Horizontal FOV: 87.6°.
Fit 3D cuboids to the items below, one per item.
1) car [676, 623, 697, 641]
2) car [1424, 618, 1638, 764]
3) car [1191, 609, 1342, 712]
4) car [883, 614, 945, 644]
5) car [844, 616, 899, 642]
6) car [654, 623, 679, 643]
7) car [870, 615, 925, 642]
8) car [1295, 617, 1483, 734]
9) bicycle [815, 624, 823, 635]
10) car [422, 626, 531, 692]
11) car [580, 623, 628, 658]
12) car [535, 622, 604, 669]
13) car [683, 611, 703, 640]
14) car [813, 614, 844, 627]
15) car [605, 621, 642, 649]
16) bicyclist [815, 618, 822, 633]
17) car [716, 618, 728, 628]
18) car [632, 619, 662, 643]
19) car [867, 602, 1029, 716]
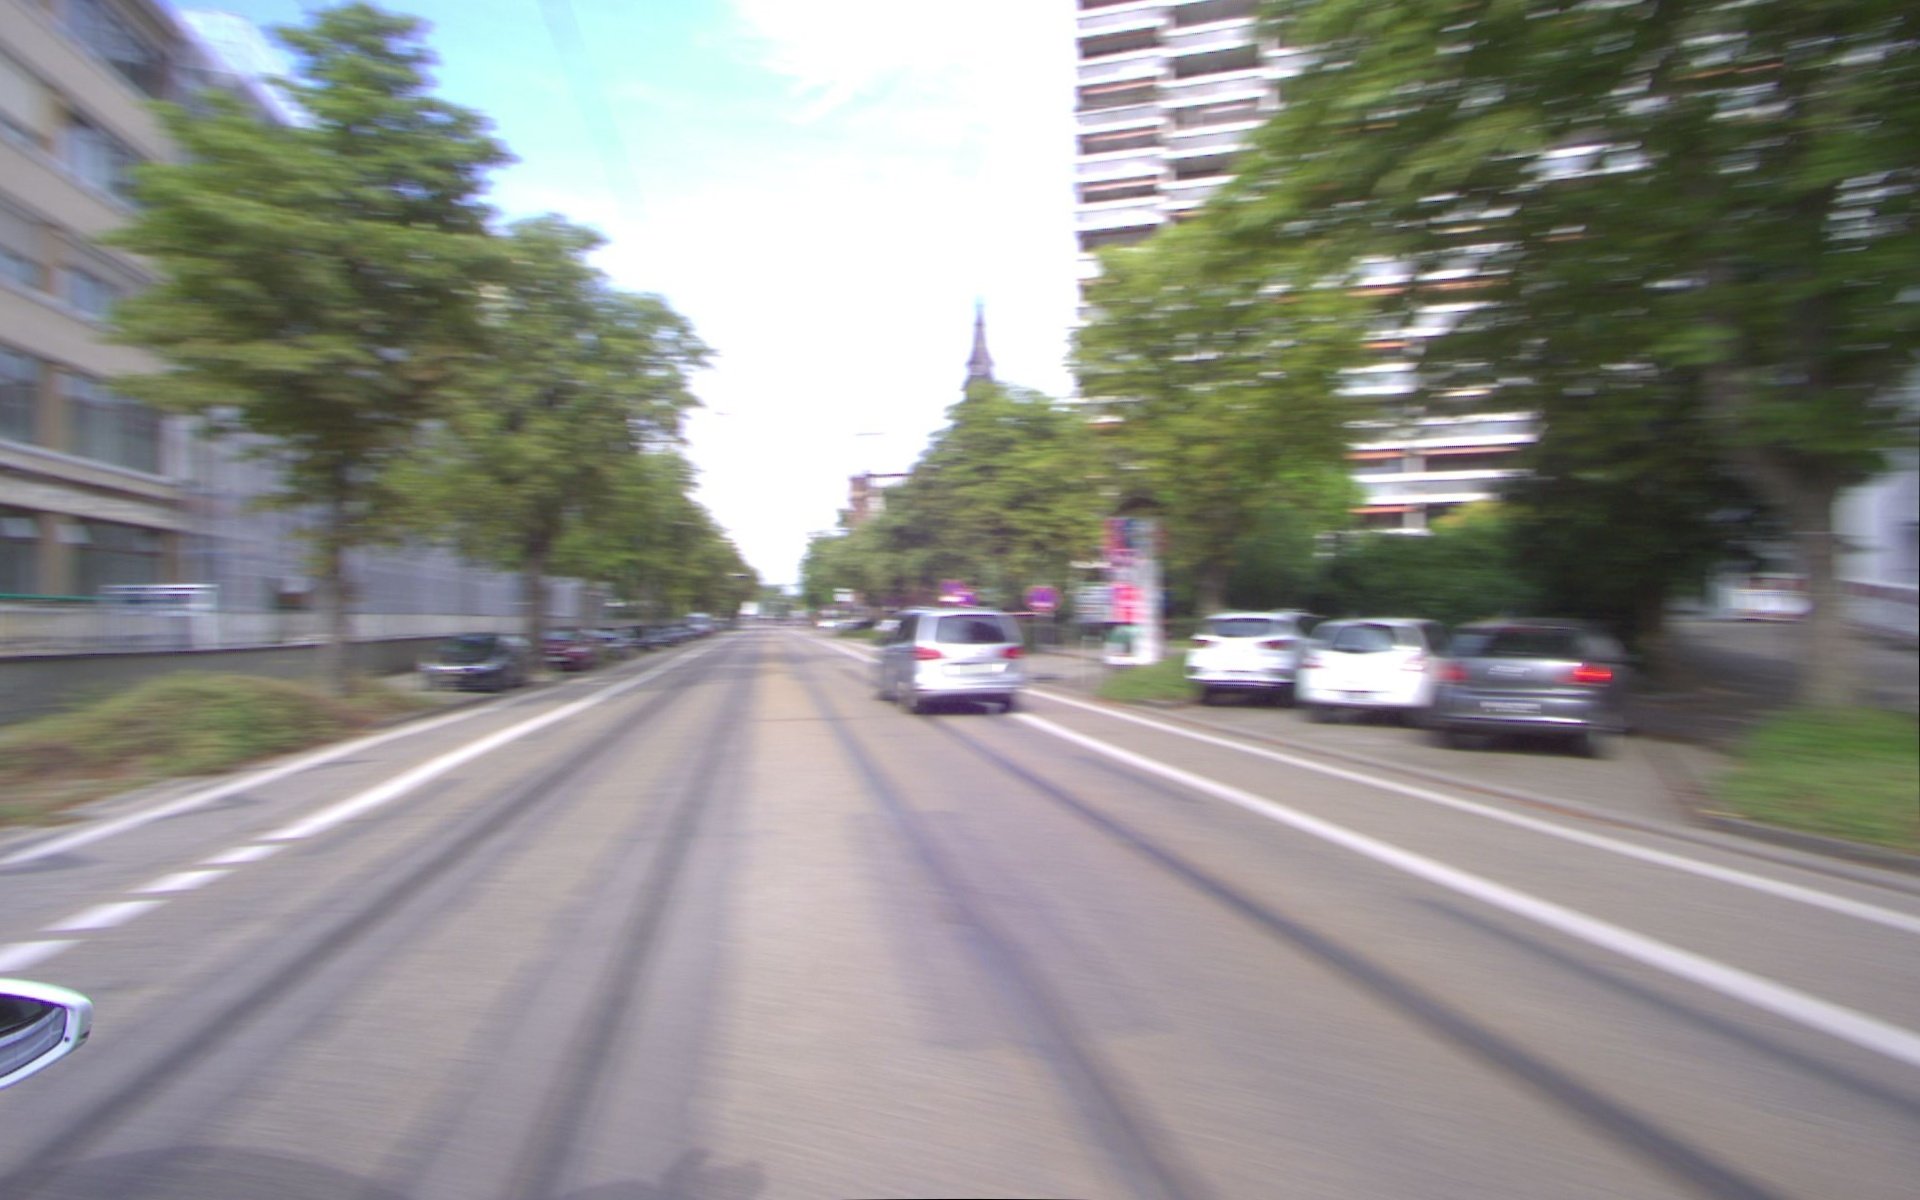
[{"bbox_3d":[-22.954,2.643,83.979,1.566,1.421,3.958,0,-1,-14],"label":"car"},{"bbox_3d":[6.838,0.943,11.818,1.662,1.438,3.620,-1,-1,39],"label":"car"},{"bbox_3d":[5.540,1.000,17.823,1.658,1.623,3.627,-1,-1,33],"label":"car"},{"bbox_3d":[-2.543,1.637,56.154,1.658,1.623,3.627,-1,-1,33],"label":"car"},{"bbox_3d":[-5.676,1.830,64.619,1.658,1.623,3.627,-1,-1,33],"label":"car"},{"bbox_3d":[-21.632,2.391,73.845,1.566,1.421,3.958,0,-1,-14],"label":"car"},{"bbox_3d":[-3.888,1.787,62.811,1.658,1.623,3.627,-1,-1,33],"label":"car"},{"bbox_3d":[6.432,1.013,14.808,1.662,1.493,3.620,-1,-1,39],"label":"car"},{"bbox_3d":[-14.326,2.982,101.473,0.584,1.057,1.975,0,-1,-14],"label":"bicycle"},{"bbox_3d":[-11.618,1.358,24.298,1.566,1.421,3.958,0,-1,-14],"label":"car"},{"bbox_3d":[-15.466,1.719,43.683,1.566,1.421,3.958,0,-1,-14],"label":"car"},{"bbox_3d":[-13.492,1.544,34.781,1.611,1.515,3.959,0,-1,-12],"label":"car"},{"bbox_3d":[-25.829,2.433,97.034,1.695,2.739,5.464,0,-1,-14],"label":"car"},{"bbox_3d":[-18.080,2.801,137.797,3.929,1.715,1.996,0,0,-17],"label":"car"},{"bbox_3d":[-17.995,1.848,53.660,1.566,1.421,3.958,0,-1,-14],"label":"car"},{"bbox_3d":[-14.323,2.560,101.473,0.584,1.478,0.874,0,0,-14],"label":"bicyclist"},{"bbox_3d":[-33.384,3.220,140.675,1.566,1.421,3.547,0,-1,-12],"label":"car"},{"bbox_3d":[-19.916,1.948,63.771,1.566,1.421,3.958,0,-1,-14],"label":"car"},{"bbox_3d":[-0.377,0.922,17.529,1.785,1.723,4.611,0,-1,-15],"label":"car"}]
